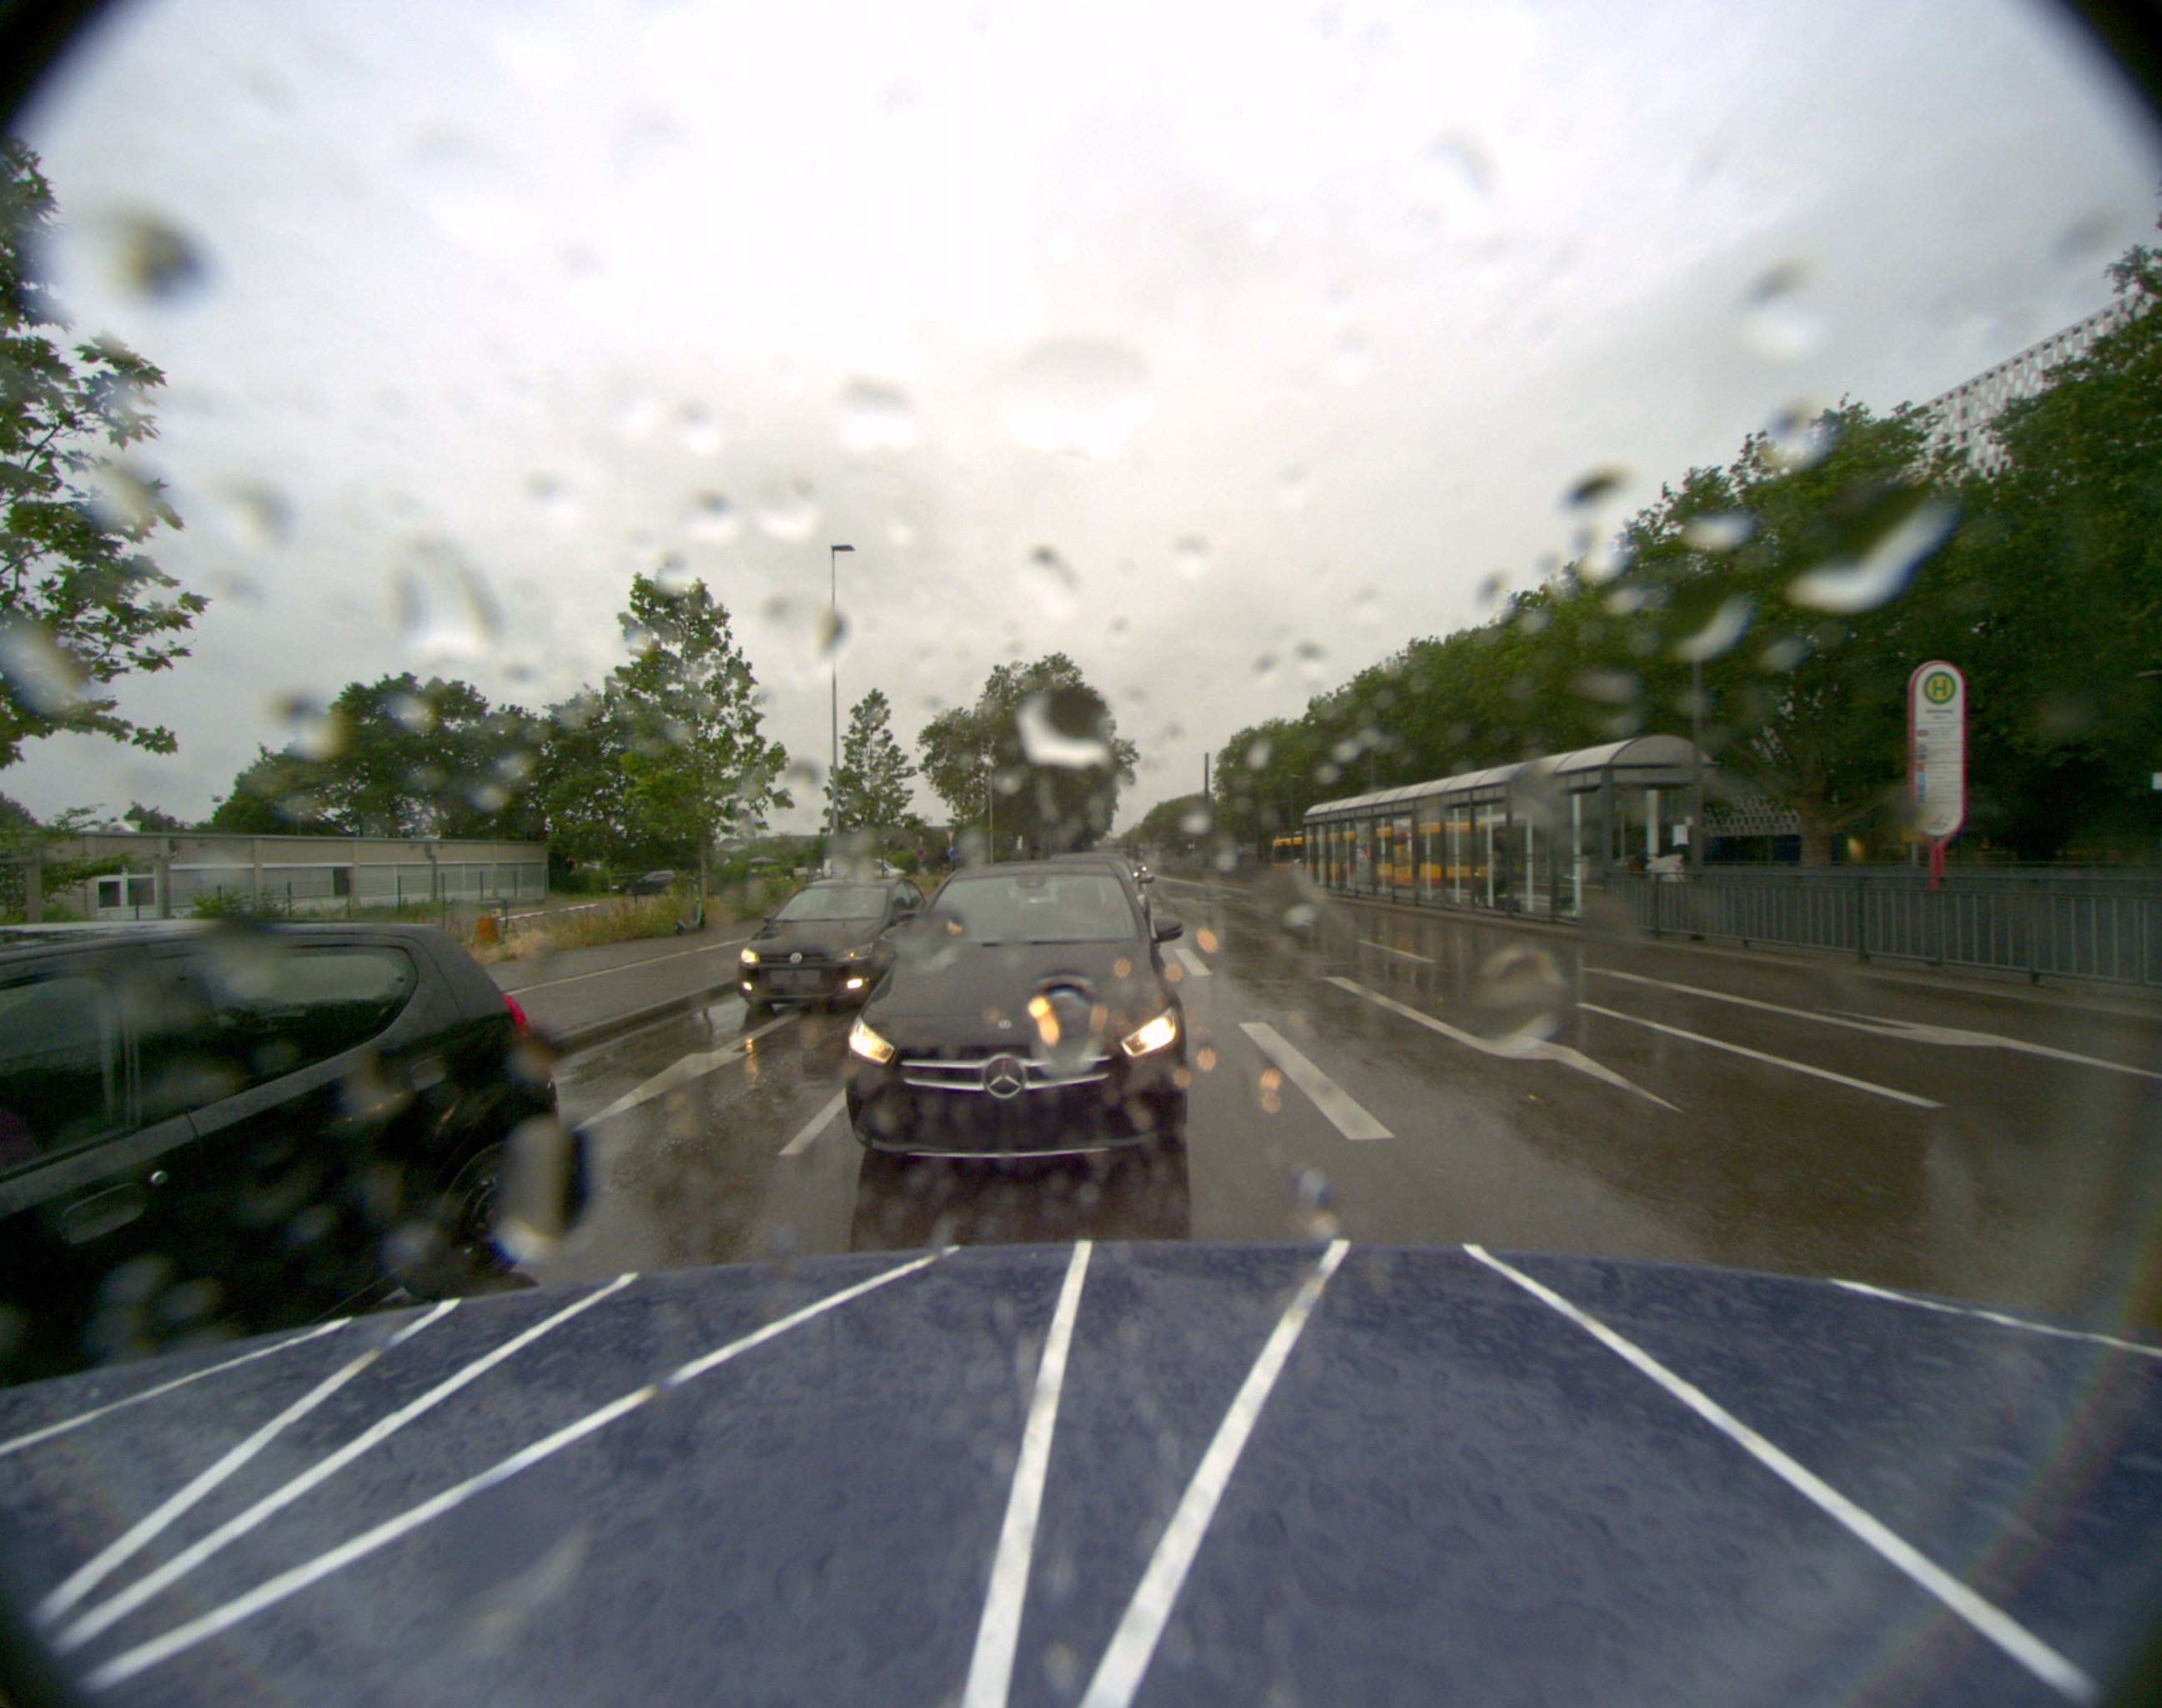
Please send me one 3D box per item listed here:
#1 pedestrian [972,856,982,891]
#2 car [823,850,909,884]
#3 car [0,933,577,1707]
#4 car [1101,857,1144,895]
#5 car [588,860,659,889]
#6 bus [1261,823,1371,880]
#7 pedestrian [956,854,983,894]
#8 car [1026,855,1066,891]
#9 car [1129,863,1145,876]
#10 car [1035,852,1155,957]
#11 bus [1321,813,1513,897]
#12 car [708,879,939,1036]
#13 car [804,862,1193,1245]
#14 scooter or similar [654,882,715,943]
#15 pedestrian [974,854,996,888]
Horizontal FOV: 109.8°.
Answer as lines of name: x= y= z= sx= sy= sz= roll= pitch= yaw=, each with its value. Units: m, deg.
pedestrian: x=-4.970 y=0.918 z=36.446 sx=0.401 sy=1.652 sz=0.441 roll=1 pitch=1 yaw=0
car: x=-13.509 y=0.776 z=47.927 sx=4.759 sy=1.639 sz=2.000 roll=-6 pitch=0 yaw=-2
car: x=-3.000 y=1.073 z=1.437 sx=1.633 sy=1.420 sz=3.624 roll=-2 pitch=0 yaw=0
car: x=1.952 y=1.008 z=36.834 sx=1.794 sy=1.597 sz=3.999 roll=-2 pitch=1 yaw=0
car: x=-33.975 y=1.510 z=56.525 sx=3.996 sy=2.002 sz=2.000 roll=-2 pitch=1 yaw=2
bus: x=16.097 y=-0.229 z=53.754 sx=2.938 sy=3.310 sz=15.060 roll=-2 pitch=1 yaw=0
pedestrian: x=-5.016 y=0.880 z=34.176 sx=1.082 sy=1.746 sz=0.969 roll=0 pitch=1 yaw=0
car: x=-1.689 y=0.911 z=37.475 sx=1.698 sy=1.565 sz=3.813 roll=-2 pitch=1 yaw=1
car: x=6.821 y=1.845 z=92.923 sx=1.766 sy=1.390 sz=4.645 roll=-2 pitch=0 yaw=2
car: x=0.195 y=0.715 z=12.488 sx=1.633 sy=1.420 sz=3.624 roll=-2 pitch=0 yaw=0
bus: x=16.173 y=-0.036 z=38.673 sx=2.938 sy=3.310 sz=15.060 roll=-2 pitch=1 yaw=0
car: x=-2.952 y=1.114 z=9.535 sx=1.633 sy=1.420 sz=3.624 roll=-2 pitch=0 yaw=0
car: x=-0.342 y=0.926 z=5.500 sx=1.690 sy=1.578 sz=4.163 roll=-2 pitch=1 yaw=1
scooter or similar: x=-8.219 y=1.176 z=15.816 sx=0.381 sy=1.123 sz=1.777 roll=0 pitch=1 yaw=-1
pedestrian: x=-5.005 y=0.874 z=39.617 sx=1.025 sy=1.698 sz=0.891 roll=1 pitch=1 yaw=0
